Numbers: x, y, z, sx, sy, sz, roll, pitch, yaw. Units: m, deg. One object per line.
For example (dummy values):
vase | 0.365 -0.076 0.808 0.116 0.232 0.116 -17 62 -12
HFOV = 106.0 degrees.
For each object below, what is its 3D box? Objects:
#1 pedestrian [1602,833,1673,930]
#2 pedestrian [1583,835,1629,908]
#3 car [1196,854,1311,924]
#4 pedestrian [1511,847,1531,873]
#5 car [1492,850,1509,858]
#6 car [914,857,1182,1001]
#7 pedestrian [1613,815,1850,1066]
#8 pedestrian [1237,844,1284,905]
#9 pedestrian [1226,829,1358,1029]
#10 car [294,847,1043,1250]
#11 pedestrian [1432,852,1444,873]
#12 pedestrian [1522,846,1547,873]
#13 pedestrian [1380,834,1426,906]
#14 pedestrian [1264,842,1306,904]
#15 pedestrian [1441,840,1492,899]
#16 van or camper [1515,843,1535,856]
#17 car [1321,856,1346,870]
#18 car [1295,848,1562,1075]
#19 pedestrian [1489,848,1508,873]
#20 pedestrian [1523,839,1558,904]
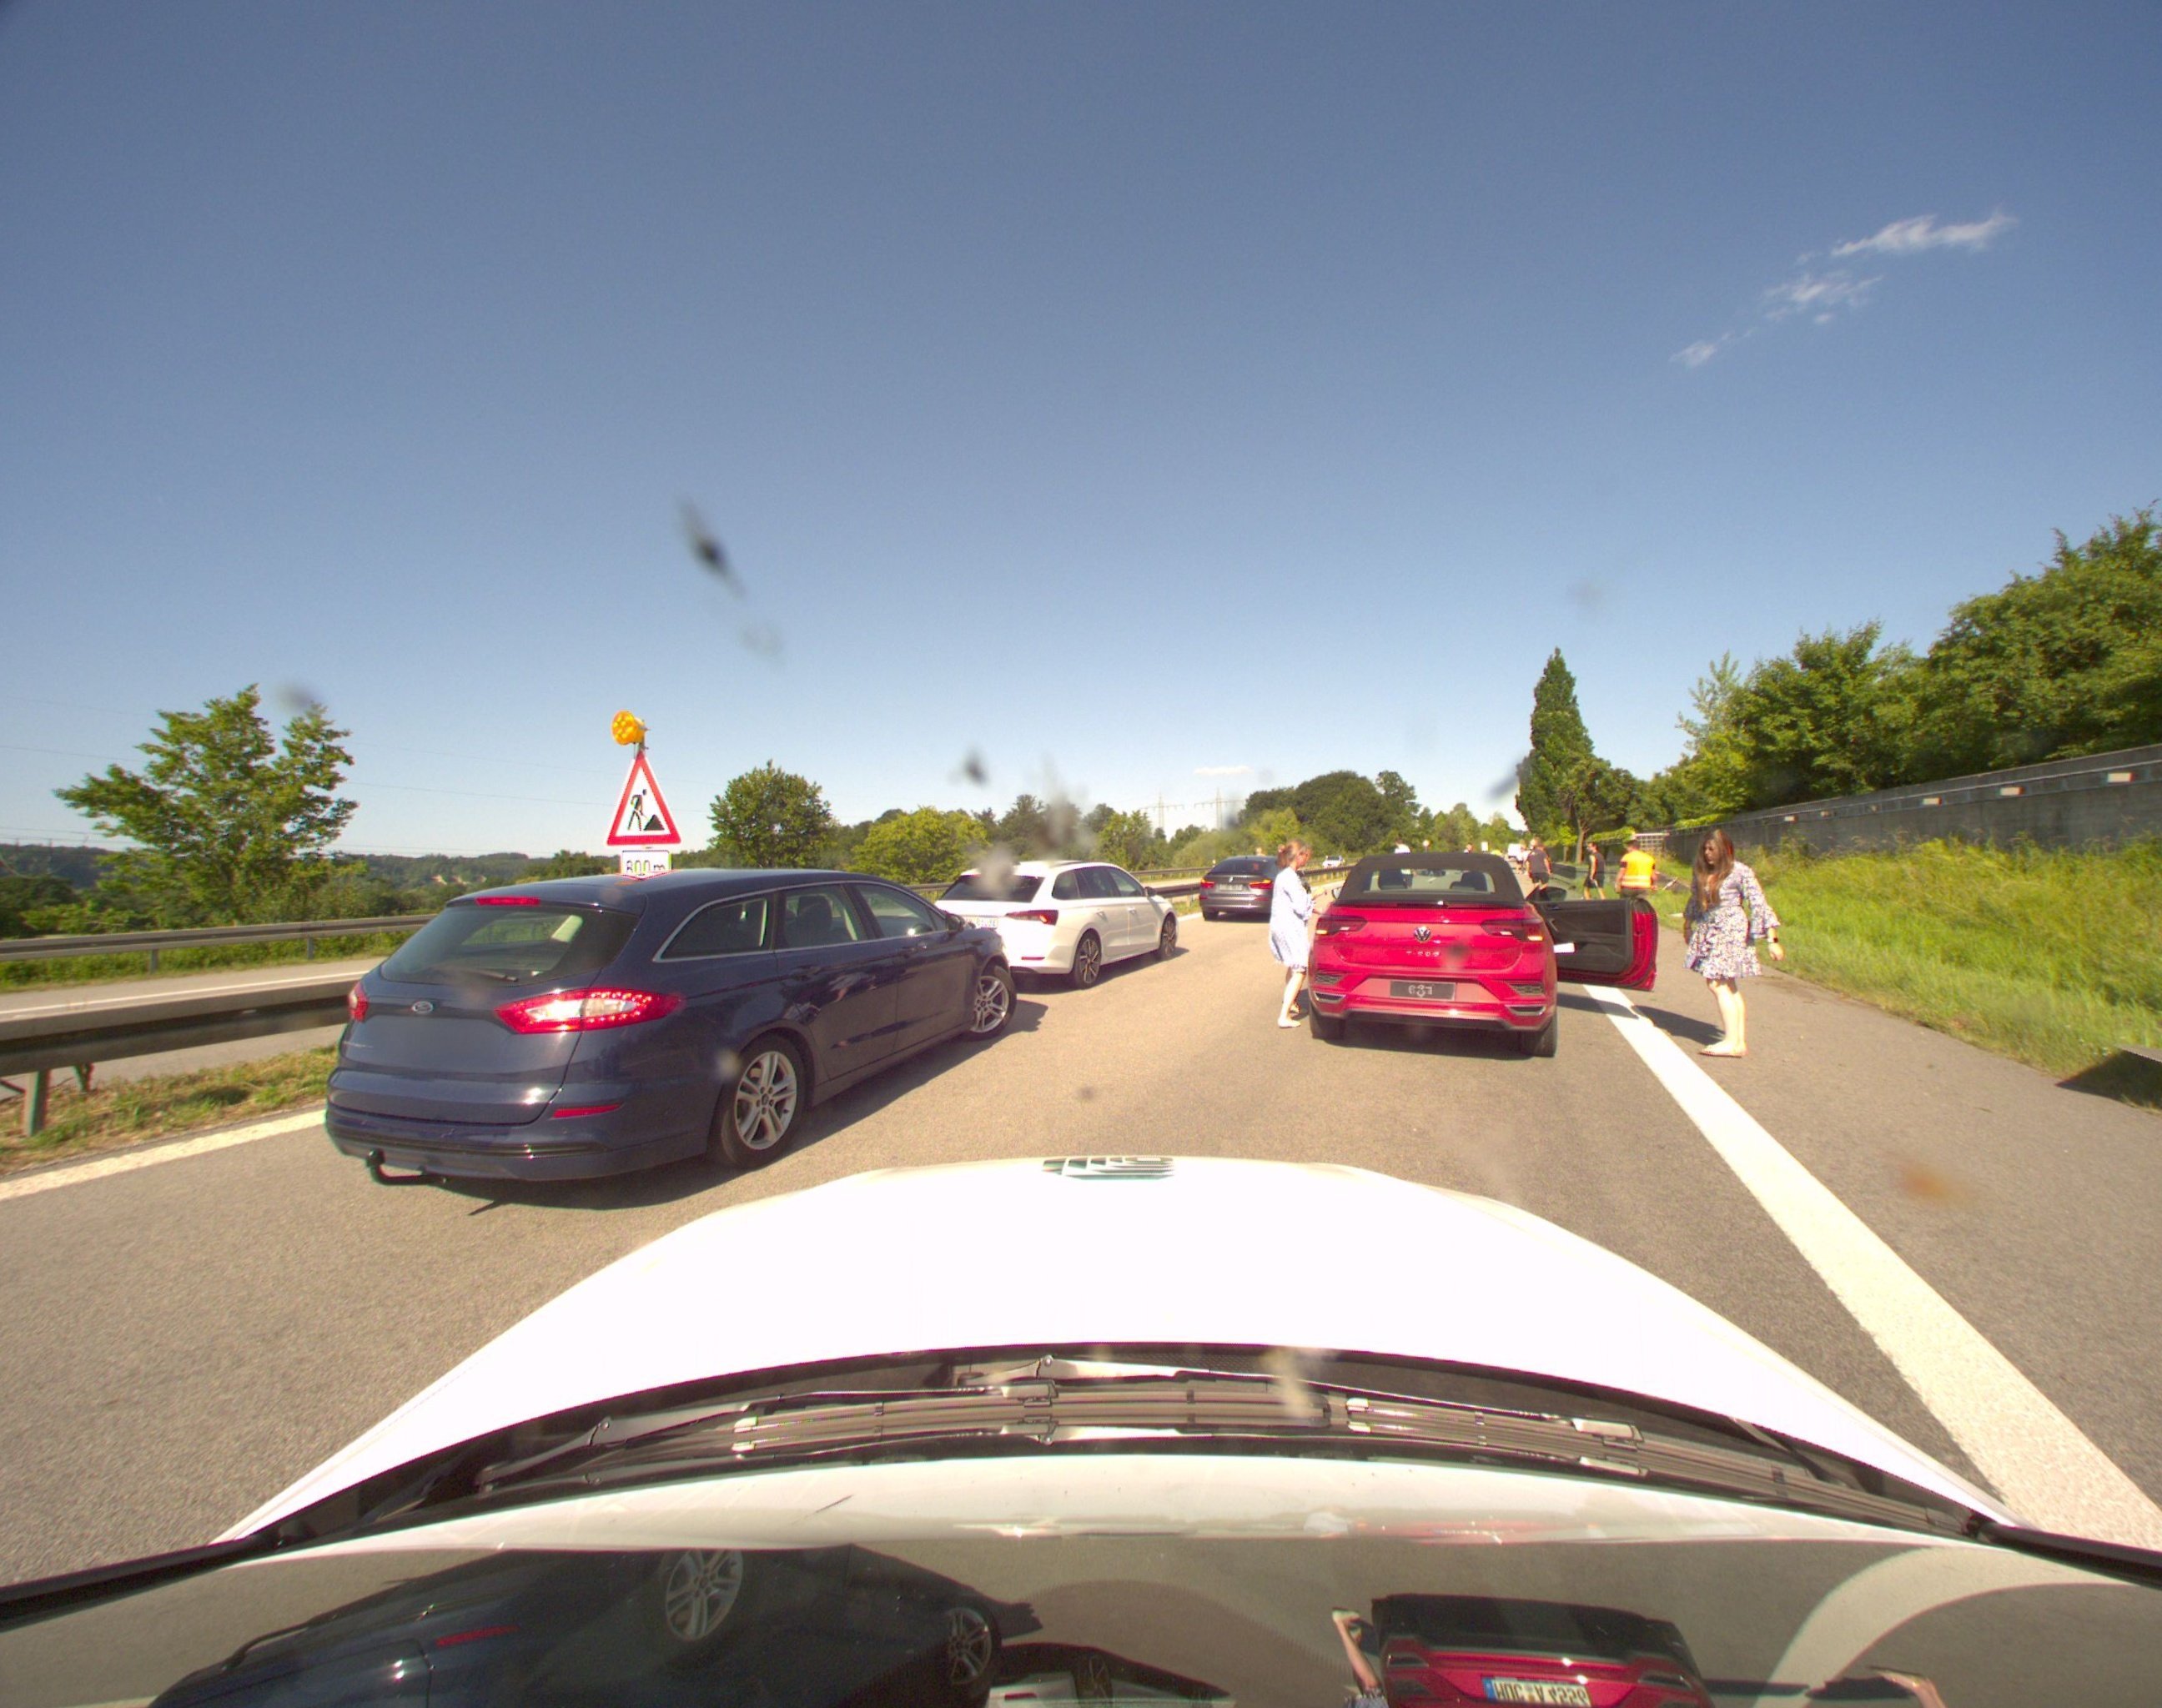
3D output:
pedestrian | 10.010 0.478 14.701 0.948 1.654 1.286 -2 -1 32
pedestrian | 12.707 0.424 19.746 0.886 1.725 0.759 0 -1 29
car | 4.229 0.743 19.424 1.679 1.426 4.359 0 0 26
pedestrian | 29.120 0.422 53.900 1.103 1.689 0.979 0 -1 34
car | 76.101 0.044 147.616 1.716 1.487 4.236 0 0 42
car | -0.178 0.776 10.611 1.679 1.441 4.235 0 0 26
pedestrian | 4.795 0.602 6.116 1.115 1.695 0.897 -2 -1 21
pedestrian | 5.410 0.612 24.522 1.104 1.763 1.050 -2 -1 25
pedestrian | 1.903 0.635 7.408 0.746 1.683 0.834 -1 -1 -29
car | -1.880 0.746 5.431 1.774 1.493 4.513 -2 -1 17
pedestrian | 28.960 0.689 65.988 0.784 1.689 0.797 0 -1 31
pedestrian | 29.236 0.361 52.559 1.009 1.689 0.994 0 -1 -17
pedestrian | 8.907 0.433 22.523 1.096 1.912 1.264 -2 -1 22
pedestrian | 6.444 0.594 25.706 1.055 1.883 1.100 -2 -1 25
pedestrian | 12.090 0.484 25.535 1.097 1.788 1.094 0 -1 -41
van or camper | 77.283 -0.756 141.681 1.975 2.316 4.497 -1 -1 43
car | 26.251 0.933 84.705 1.678 1.426 4.331 0 0 28
car | 3.301 0.700 7.629 1.716 1.487 4.235 0 0 26
pedestrian | 28.905 0.433 56.418 1.046 1.689 1.023 0 -1 32
pedestrian | 12.755 0.487 22.602 0.804 1.759 0.833 0 -1 30
